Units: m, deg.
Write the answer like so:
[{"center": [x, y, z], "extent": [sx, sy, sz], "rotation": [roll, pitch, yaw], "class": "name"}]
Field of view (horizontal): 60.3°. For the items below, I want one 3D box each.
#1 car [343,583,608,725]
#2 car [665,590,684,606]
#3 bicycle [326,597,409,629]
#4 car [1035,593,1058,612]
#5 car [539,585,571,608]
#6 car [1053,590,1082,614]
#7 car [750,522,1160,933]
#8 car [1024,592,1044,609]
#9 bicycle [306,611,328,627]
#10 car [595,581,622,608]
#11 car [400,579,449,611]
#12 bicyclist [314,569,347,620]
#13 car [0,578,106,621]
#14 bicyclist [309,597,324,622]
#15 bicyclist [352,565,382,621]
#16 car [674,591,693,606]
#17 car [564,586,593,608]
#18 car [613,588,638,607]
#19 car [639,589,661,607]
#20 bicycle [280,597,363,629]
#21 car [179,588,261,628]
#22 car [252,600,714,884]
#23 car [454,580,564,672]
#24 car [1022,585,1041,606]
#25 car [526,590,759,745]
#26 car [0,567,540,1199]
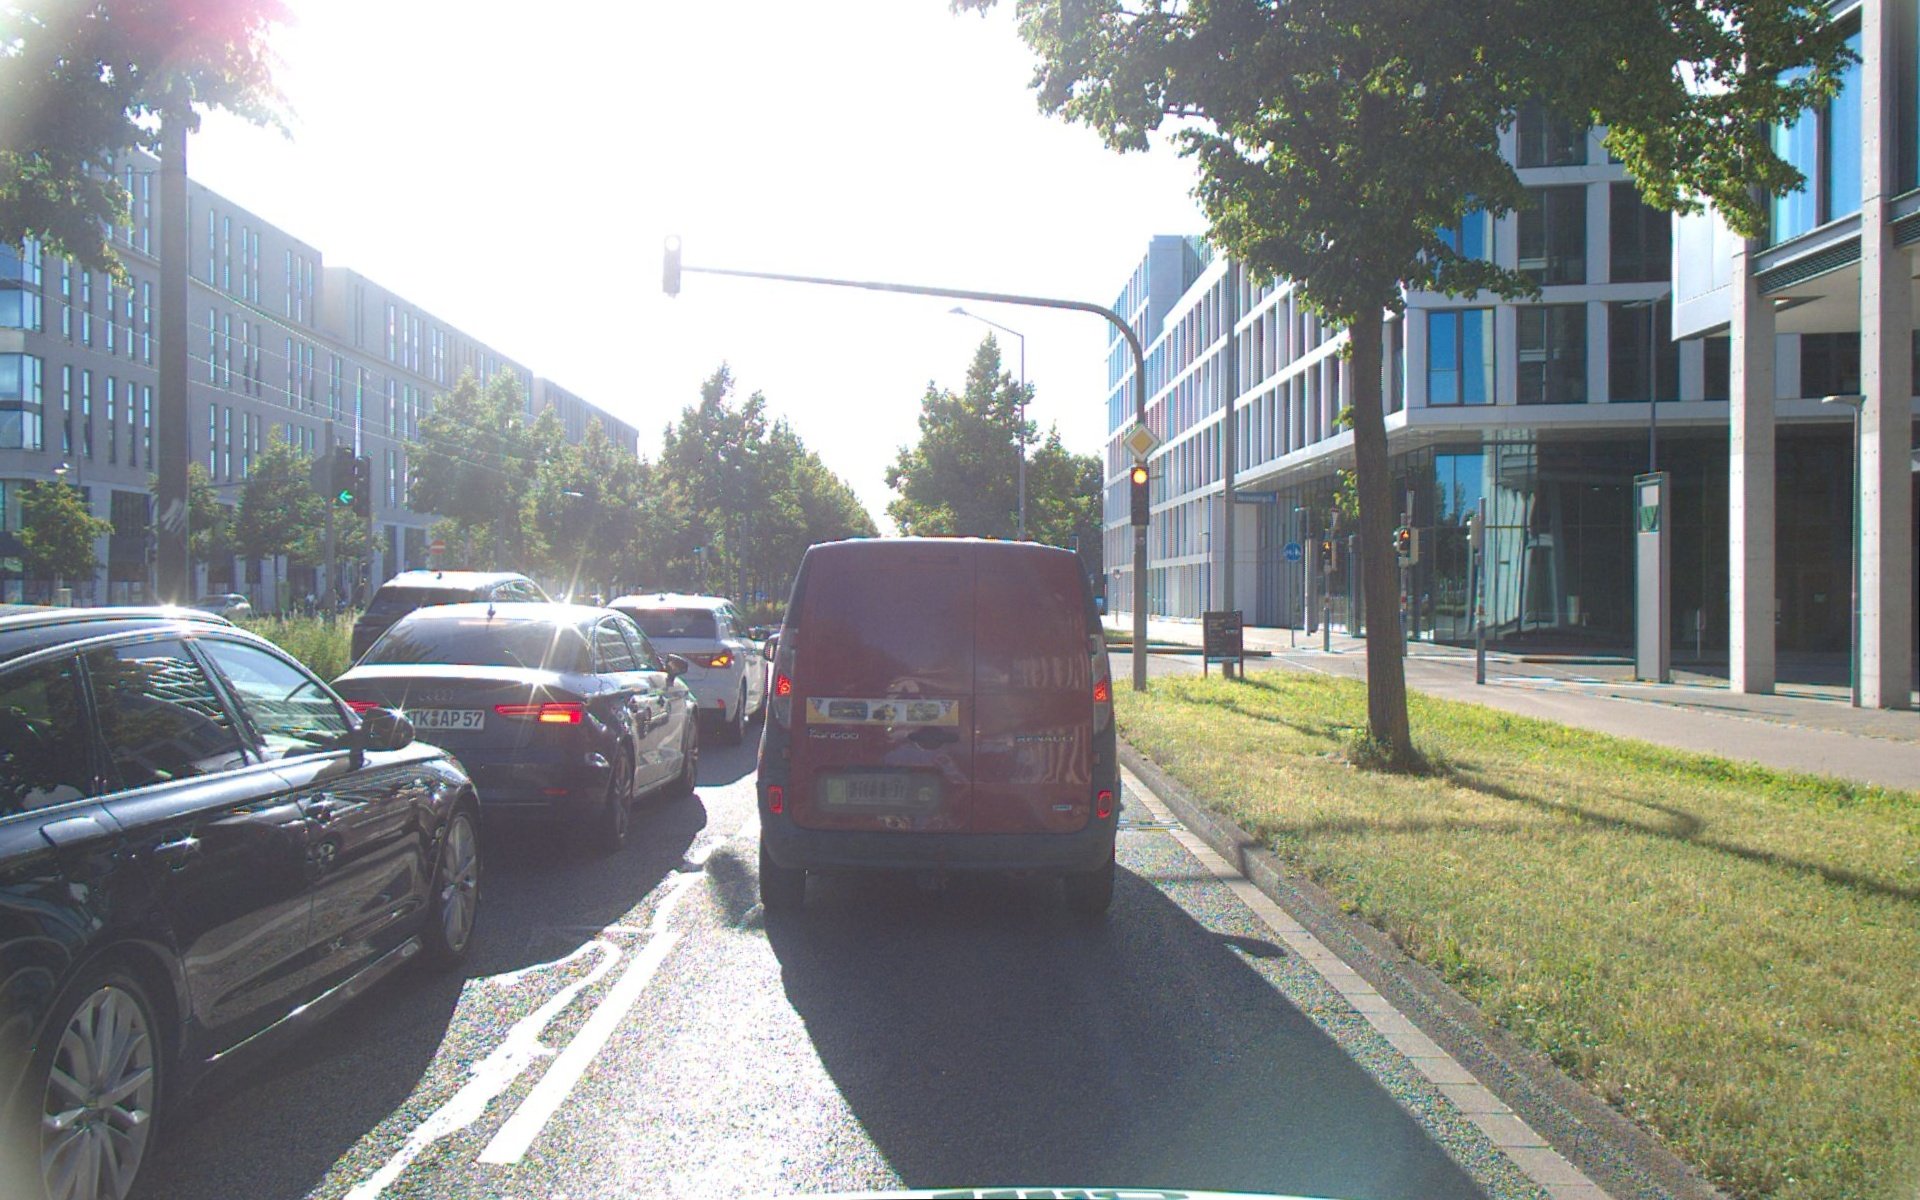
[{"center": [-5.638, 0.578, 19.870], "extent": [1.762, 1.473, 4.569], "rotation": [1, 0, 1], "class": "car"}, {"center": [-37.383, -0.224, 216.682], "extent": [1.953, 2.049, 3.999], "rotation": [0, 0, -1], "class": "car"}, {"center": [-22.750, 0.509, 63.510], "extent": [2.886, 1.211, 0.816], "rotation": [0, 0, -7], "class": "bicycle"}, {"center": [8.400, 0.226, 160.754], "extent": [1.953, 1.813, 3.999], "rotation": [0, 0, -1], "class": "car"}, {"center": [-36.386, -0.351, 148.781], "extent": [1.953, 2.049, 3.999], "rotation": [0, 0, -1], "class": "car"}, {"center": [8.309, 0.140, 128.154], "extent": [1.953, 1.813, 3.999], "rotation": [0, 0, -1], "class": "car"}, {"center": [-0.051, 0.556, 9.312], "extent": [1.804, 1.812, 3.999], "rotation": [0, 0, -1], "class": "car"}, {"center": [8.043, 0.057, 179.949], "extent": [1.953, 1.813, 3.999], "rotation": [0, 0, -1], "class": "car"}, {"center": [-40.562, 1.194, 104.386], "extent": [0.663, 1.005, 1.956], "rotation": [0, 0, -1], "class": "bicycle"}, {"center": [-35.623, -0.572, 167.824], "extent": [1.953, 2.653, 3.999], "rotation": [0, 0, -1], "class": "car"}, {"center": [-35.299, -0.320, 109.117], "extent": [1.953, 2.049, 3.999], "rotation": [0, 0, -1], "class": "car"}, {"center": [-24.665, -0.203, 64.809], "extent": [0.979, 1.981, 0.817], "rotation": [0, 0, -4], "class": "bicyclist"}, {"center": [-33.207, -0.035, 60.660], "extent": [1.729, 1.546, 3.999], "rotation": [0, 0, -1], "class": "car"}, {"center": [-40.566, 0.594, 104.297], "extent": [0.663, 1.556, 0.714], "rotation": [0, 0, -1], "class": "bicyclist"}, {"center": [-22.756, -0.274, 63.521], "extent": [0.922, 2.129, 0.816], "rotation": [0, 0, -7], "class": "bicyclist"}, {"center": [-37.196, -0.201, 222.309], "extent": [1.953, 2.049, 3.999], "rotation": [0, 0, -1], "class": "car"}, {"center": [-36.405, -0.329, 157.881], "extent": [1.953, 2.049, 3.999], "rotation": [0, 0, -1], "class": "car"}, {"center": [-36.743, -0.283, 181.861], "extent": [1.953, 2.049, 3.999], "rotation": [0, 0, -1], "class": "car"}, {"center": [-37.242, -0.263, 198.667], "extent": [1.953, 2.049, 3.999], "rotation": [0, 0, -1], "class": "car"}, {"center": [-24.991, 0.510, 64.769], "extent": [2.884, 1.211, 0.817], "rotation": [0, 0, -4], "class": "bicycle"}, {"center": [-34.756, 0.367, 77.779], "extent": [1.953, 1.845, 4.369], "rotation": [0, 0, -1], "class": "car"}, {"center": [-2.807, 0.743, 10.792], "extent": [1.804, 1.451, 4.338], "rotation": [0, 0, -1], "class": "car"}, {"center": [-8.726, 0.450, 31.750], "extent": [1.771, 1.508, 4.546], "rotation": [3, 0, -18], "class": "car"}, {"center": [8.554, -0.527, 198.476], "extent": [1.953, 2.540, 4.986], "rotation": [0, 0, -1], "class": "car"}, {"center": [-3.220, 0.624, 17.500], "extent": [1.767, 1.451, 3.900], "rotation": [0, 0, -1], "class": "car"}, {"center": [-2.754, 0.683, 5.029], "extent": [1.836, 1.510, 4.965], "rotation": [0, 0, -2], "class": "car"}]
